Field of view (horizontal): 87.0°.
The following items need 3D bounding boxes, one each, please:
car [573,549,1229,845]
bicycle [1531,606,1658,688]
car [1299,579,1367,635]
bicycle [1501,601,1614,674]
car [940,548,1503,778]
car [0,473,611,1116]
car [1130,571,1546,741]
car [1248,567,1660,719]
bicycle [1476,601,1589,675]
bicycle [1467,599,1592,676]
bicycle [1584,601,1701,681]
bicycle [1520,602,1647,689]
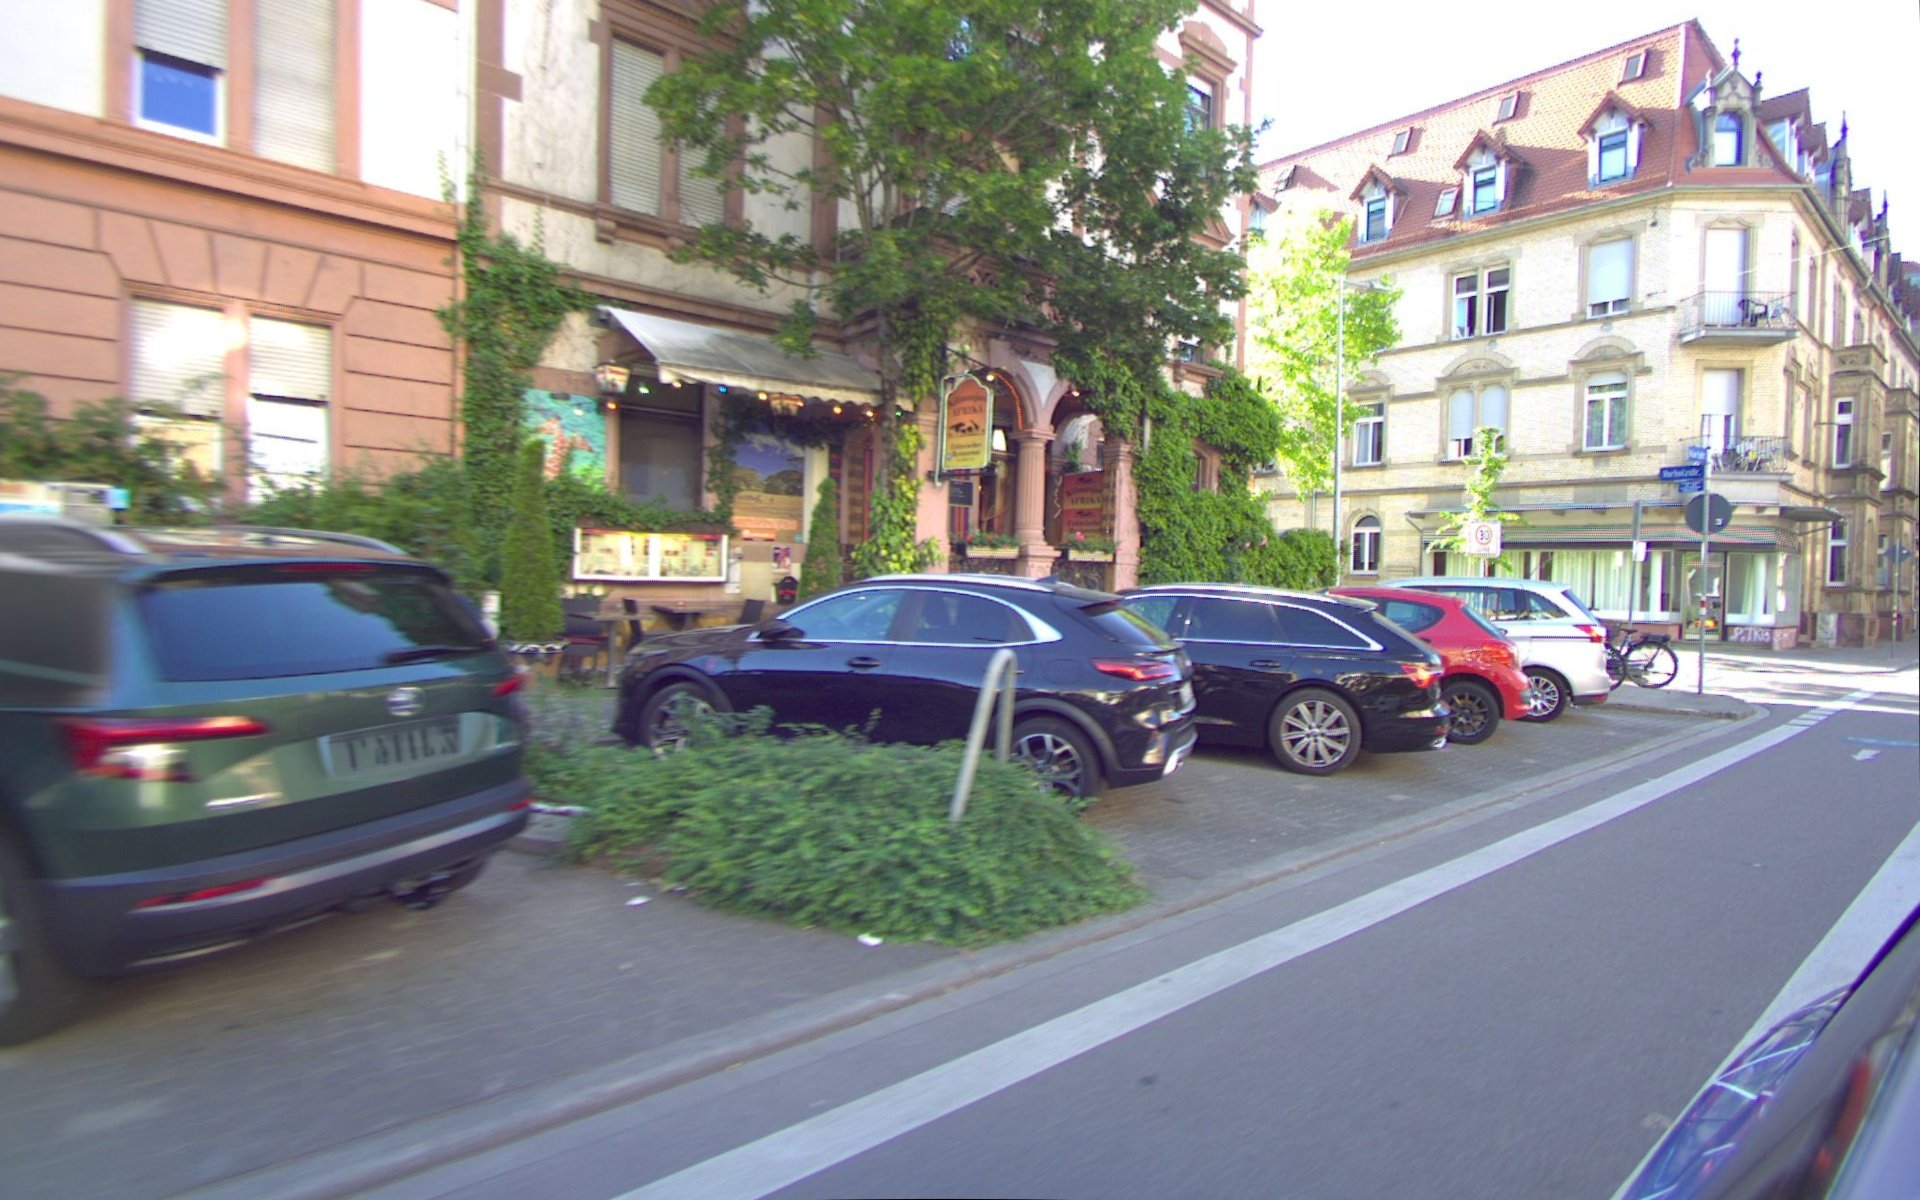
[{"bbox_3d":[-0.381,0.473,7.270,4.281,1.616,2.031,1,1,22],"label":"car"},{"bbox_3d":[9.205,0.651,14.735,0.301,1.092,1.562,0,1,-34],"label":"bicycle"},{"bbox_3d":[11.119,0.155,30.330,1.749,1.551,3.511,1,1,18],"label":"car"},{"bbox_3d":[10.089,0.605,17.135,0.541,1.141,1.562,0,1,-34],"label":"bicycle"},{"bbox_3d":[2.242,0.384,8.997,4.403,1.616,2.071,1,1,25],"label":"car"},{"bbox_3d":[-3.672,0.438,4.279,3.958,1.616,1.943,1,1,25],"label":"car"},{"bbox_3d":[4.058,0.483,11.147,3.958,1.556,1.902,1,1,25],"label":"car"},{"bbox_3d":[5.966,0.416,12.679,4.320,1.616,1.837,1,1,26],"label":"car"},{"bbox_3d":[9.475,0.604,16.801,0.518,1.141,1.562,0,1,-34],"label":"bicycle"},{"bbox_3d":[9.131,0.567,16.273,0.541,1.141,1.681,0,1,-34],"label":"bicycle"},{"bbox_3d":[10.552,0.609,15.675,0.542,1.141,1.400,0,1,-40],"label":"bicycle"},{"bbox_3d":[8.923,0.622,14.544,0.289,1.141,1.566,0,1,-34],"label":"bicycle"}]
